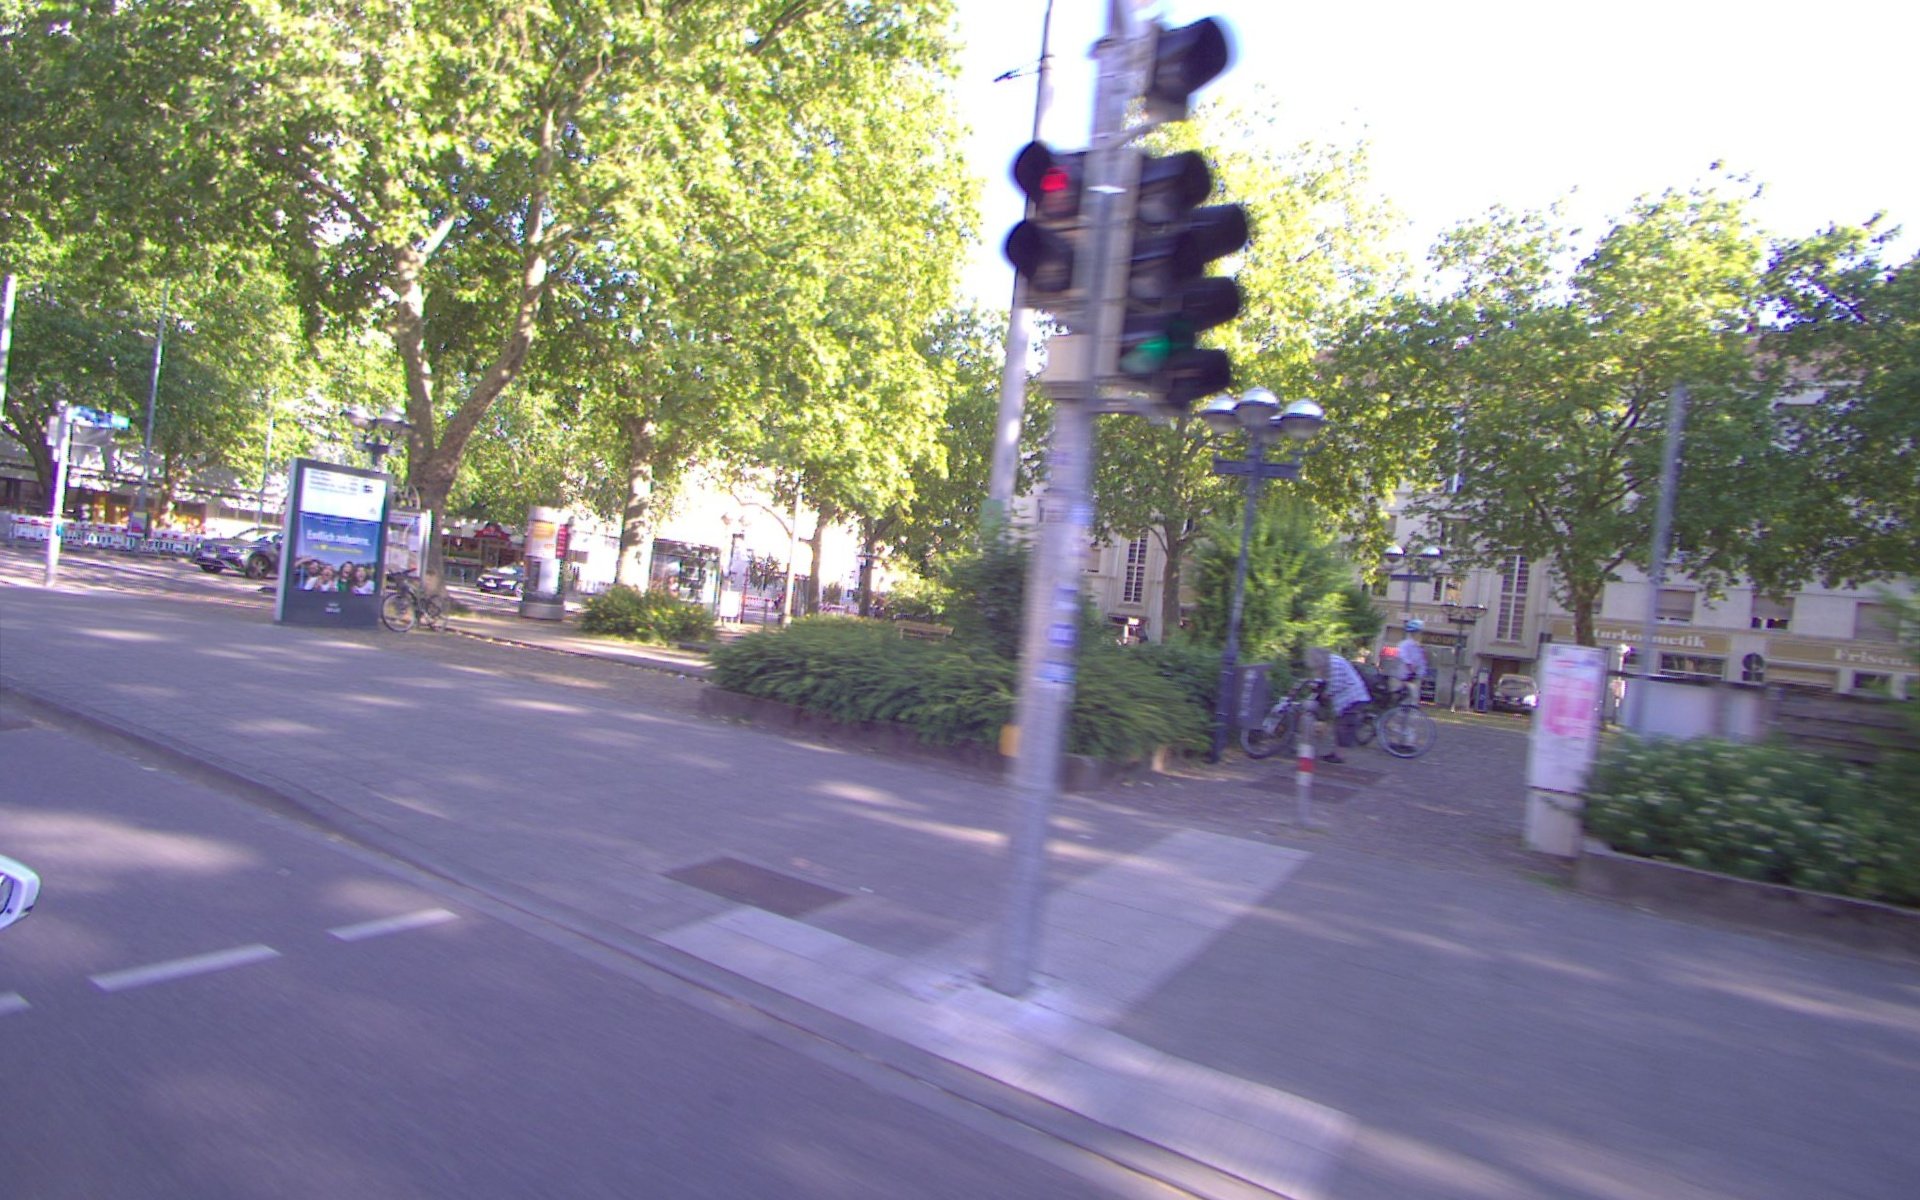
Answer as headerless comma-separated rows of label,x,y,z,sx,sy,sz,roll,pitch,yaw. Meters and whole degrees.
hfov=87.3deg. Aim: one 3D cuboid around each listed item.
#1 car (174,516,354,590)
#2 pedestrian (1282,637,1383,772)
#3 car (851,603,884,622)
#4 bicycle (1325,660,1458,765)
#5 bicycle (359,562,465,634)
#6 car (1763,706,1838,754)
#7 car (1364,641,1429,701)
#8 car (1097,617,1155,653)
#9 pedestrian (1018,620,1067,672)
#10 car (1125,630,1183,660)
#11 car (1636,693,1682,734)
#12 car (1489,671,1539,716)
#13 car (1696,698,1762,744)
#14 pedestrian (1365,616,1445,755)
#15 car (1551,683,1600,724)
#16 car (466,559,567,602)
car,-22.050,-1.422,32.141,1.899,1.658,4.587,7,-2,10
pedestrian,4.340,1.218,11.718,0.839,1.444,0.620,8,-2,-37
car,-8.895,1.223,97.188,1.899,1.376,4.445,7,-2,10
bicycle,5.764,1.473,13.544,0.687,1.176,1.720,7,-2,-11
bicycle,-9.115,-0.007,16.806,0.525,1.066,1.826,7,-1,5
car,36.026,5.517,43.216,1.750,1.499,4.340,6,1,32
car,22.665,3.606,52.096,2.132,2.702,5.053,6,1,32
car,9.867,2.065,59.452,1.733,1.895,4.340,6,1,32
pedestrian,2.257,1.265,27.527,0.777,1.254,1.140,6,-2,31
car,11.243,2.617,58.119,1.733,1.499,4.340,6,1,32
car,31.653,5.115,45.627,1.385,1.499,3.564,6,1,32
car,26.705,4.450,48.425,1.750,1.776,4.340,6,1,32
car,33.792,5.282,44.313,1.750,1.499,4.340,6,1,32
pedestrian,6.081,1.158,13.770,0.617,1.805,0.553,7,-1,-17
car,28.930,4.799,47.255,1.750,1.499,4.340,6,1,32
car,-19.958,-0.833,45.510,1.899,1.376,4.445,7,-2,10
